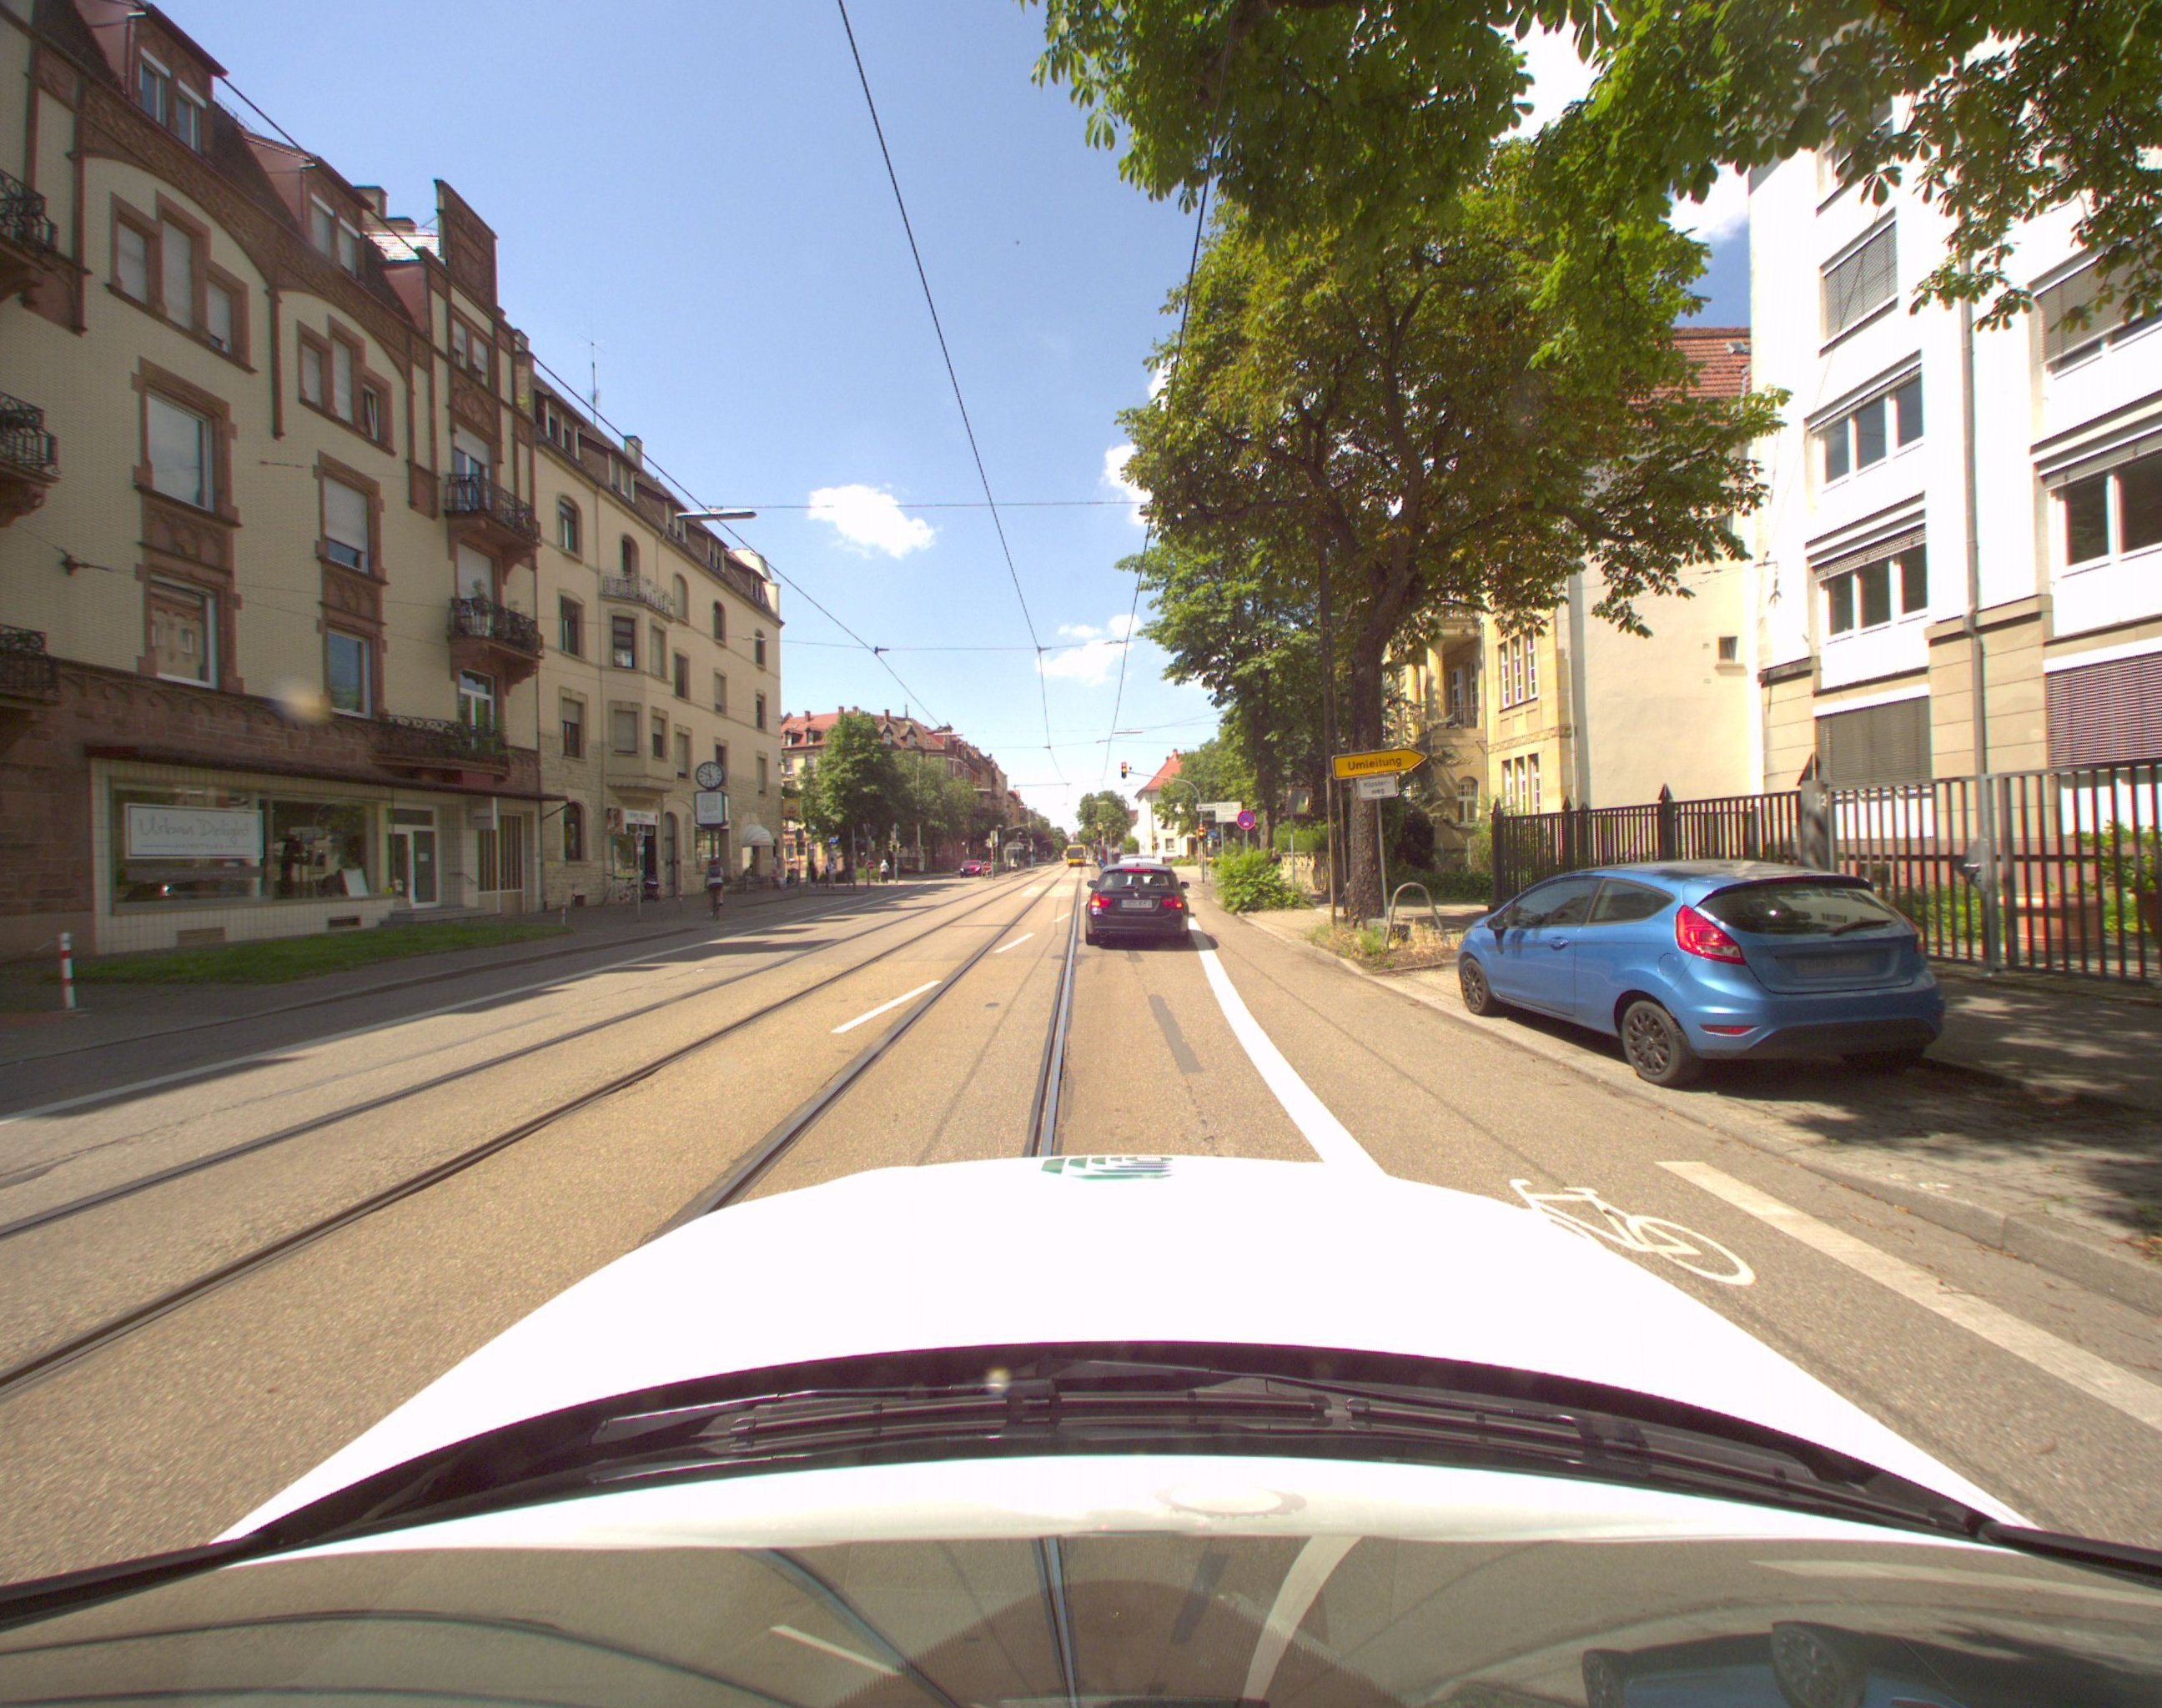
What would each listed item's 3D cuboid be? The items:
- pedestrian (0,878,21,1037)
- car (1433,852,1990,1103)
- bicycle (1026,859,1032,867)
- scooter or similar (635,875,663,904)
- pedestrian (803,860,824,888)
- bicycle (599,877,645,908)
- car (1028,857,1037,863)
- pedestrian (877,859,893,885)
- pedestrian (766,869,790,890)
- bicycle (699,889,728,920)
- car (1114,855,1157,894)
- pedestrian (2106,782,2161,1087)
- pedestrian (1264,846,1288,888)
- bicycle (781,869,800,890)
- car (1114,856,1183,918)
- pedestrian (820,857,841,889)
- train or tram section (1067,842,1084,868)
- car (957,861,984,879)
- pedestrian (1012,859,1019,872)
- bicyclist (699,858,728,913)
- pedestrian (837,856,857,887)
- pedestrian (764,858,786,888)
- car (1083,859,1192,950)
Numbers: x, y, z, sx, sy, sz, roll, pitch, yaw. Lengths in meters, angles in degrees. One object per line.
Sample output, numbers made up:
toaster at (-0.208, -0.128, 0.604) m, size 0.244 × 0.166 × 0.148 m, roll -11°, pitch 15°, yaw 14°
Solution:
pedestrian at (-10.971, 1.021, 7.569) m, size 0.899 × 1.542 × 0.983 m, roll -2°, pitch 0°, yaw -3°
car at (4.580, 0.736, 6.729) m, size 1.672 × 1.443 × 3.719 m, roll -2°, pitch 0°, yaw -1°
bicycle at (-8.256, 1.441, 129.918) m, size 0.726 × 1.101 × 1.716 m, roll -1°, pitch 0°, yaw 1°
scooter or similar at (-16.455, 1.329, 31.000) m, size 0.700 × 1.044 × 1.196 m, roll 1°, pitch -1°, yaw -40°
pedestrian at (-15.969, 1.167, 48.642) m, size 0.858 × 1.635 × 1.026 m, roll -2°, pitch 0°, yaw -1°
bicycle at (-16.292, 1.339, 28.952) m, size 0.366 × 1.066 × 1.473 m, roll -1°, pitch -2°, yaw 24°
car at (-12.198, 1.507, 203.798) m, size 1.786 × 1.586 × 3.988 m, roll 0°, pitch -1°, yaw -8°
pedestrian at (-13.529, 1.224, 56.259) m, size 0.920 × 1.723 × 0.833 m, roll -1°, pitch 0°, yaw -24°
pedestrian at (-16.339, 1.361, 43.884) m, size 0.912 × 1.077 × 0.883 m, roll -2°, pitch 0°, yaw 1°
bicycle at (-11.176, 1.521, 24.782) m, size 0.755 × 0.817 × 1.806 m, roll -1°, pitch 0°, yaw -24°
car at (2.269, 0.814, 34.040) m, size 1.684 × 1.514 × 3.825 m, roll 0°, pitch 0°, yaw 3°
pedestrian at (6.209, 0.428, 4.126) m, size 0.763 × 1.651 × 0.975 m, roll -2°, pitch 0°, yaw 4°
pedestrian at (7.860, 0.534, 32.882) m, size 0.852 × 1.645 × 0.838 m, roll -2°, pitch -1°, yaw 9°
bicycle at (-16.915, 1.481, 47.409) m, size 0.547 × 1.128 × 1.664 m, roll -1°, pitch -2°, yaw -37°
car at (1.756, 0.827, 22.078) m, size 1.678 × 1.484 × 3.686 m, roll -2°, pitch 0°, yaw 2°
pedestrian at (-14.046, 1.061, 45.655) m, size 0.851 × 1.732 × 0.780 m, roll 0°, pitch 0°, yaw 37°
train or tram section at (-0.778, 0.164, 117.096) m, size 2.183 × 3.482 × 8.843 m, roll -2°, pitch 0°, yaw 0°
car at (-9.462, 1.362, 70.155) m, size 1.818 × 1.413 × 4.425 m, roll -3°, pitch 0°, yaw -2°
pedestrian at (-6.355, 1.135, 79.241) m, size 0.613 × 1.243 × 0.626 m, roll -1°, pitch 0°, yaw -6°
bicyclist at (-11.229, 0.948, 24.924) m, size 0.759 × 1.663 × 0.825 m, roll 0°, pitch -1°, yaw -21°
pedestrian at (-14.514, 1.077, 50.548) m, size 0.898 × 1.891 × 1.164 m, roll -1°, pitch 0°, yaw -1°
pedestrian at (-17.093, 1.061, 45.555) m, size 0.914 × 1.595 × 0.808 m, roll -2°, pitch 0°, yaw -3°
car at (1.048, 0.818, 15.277) m, size 1.715 × 1.409 × 4.569 m, roll 1°, pitch 0°, yaw 4°
